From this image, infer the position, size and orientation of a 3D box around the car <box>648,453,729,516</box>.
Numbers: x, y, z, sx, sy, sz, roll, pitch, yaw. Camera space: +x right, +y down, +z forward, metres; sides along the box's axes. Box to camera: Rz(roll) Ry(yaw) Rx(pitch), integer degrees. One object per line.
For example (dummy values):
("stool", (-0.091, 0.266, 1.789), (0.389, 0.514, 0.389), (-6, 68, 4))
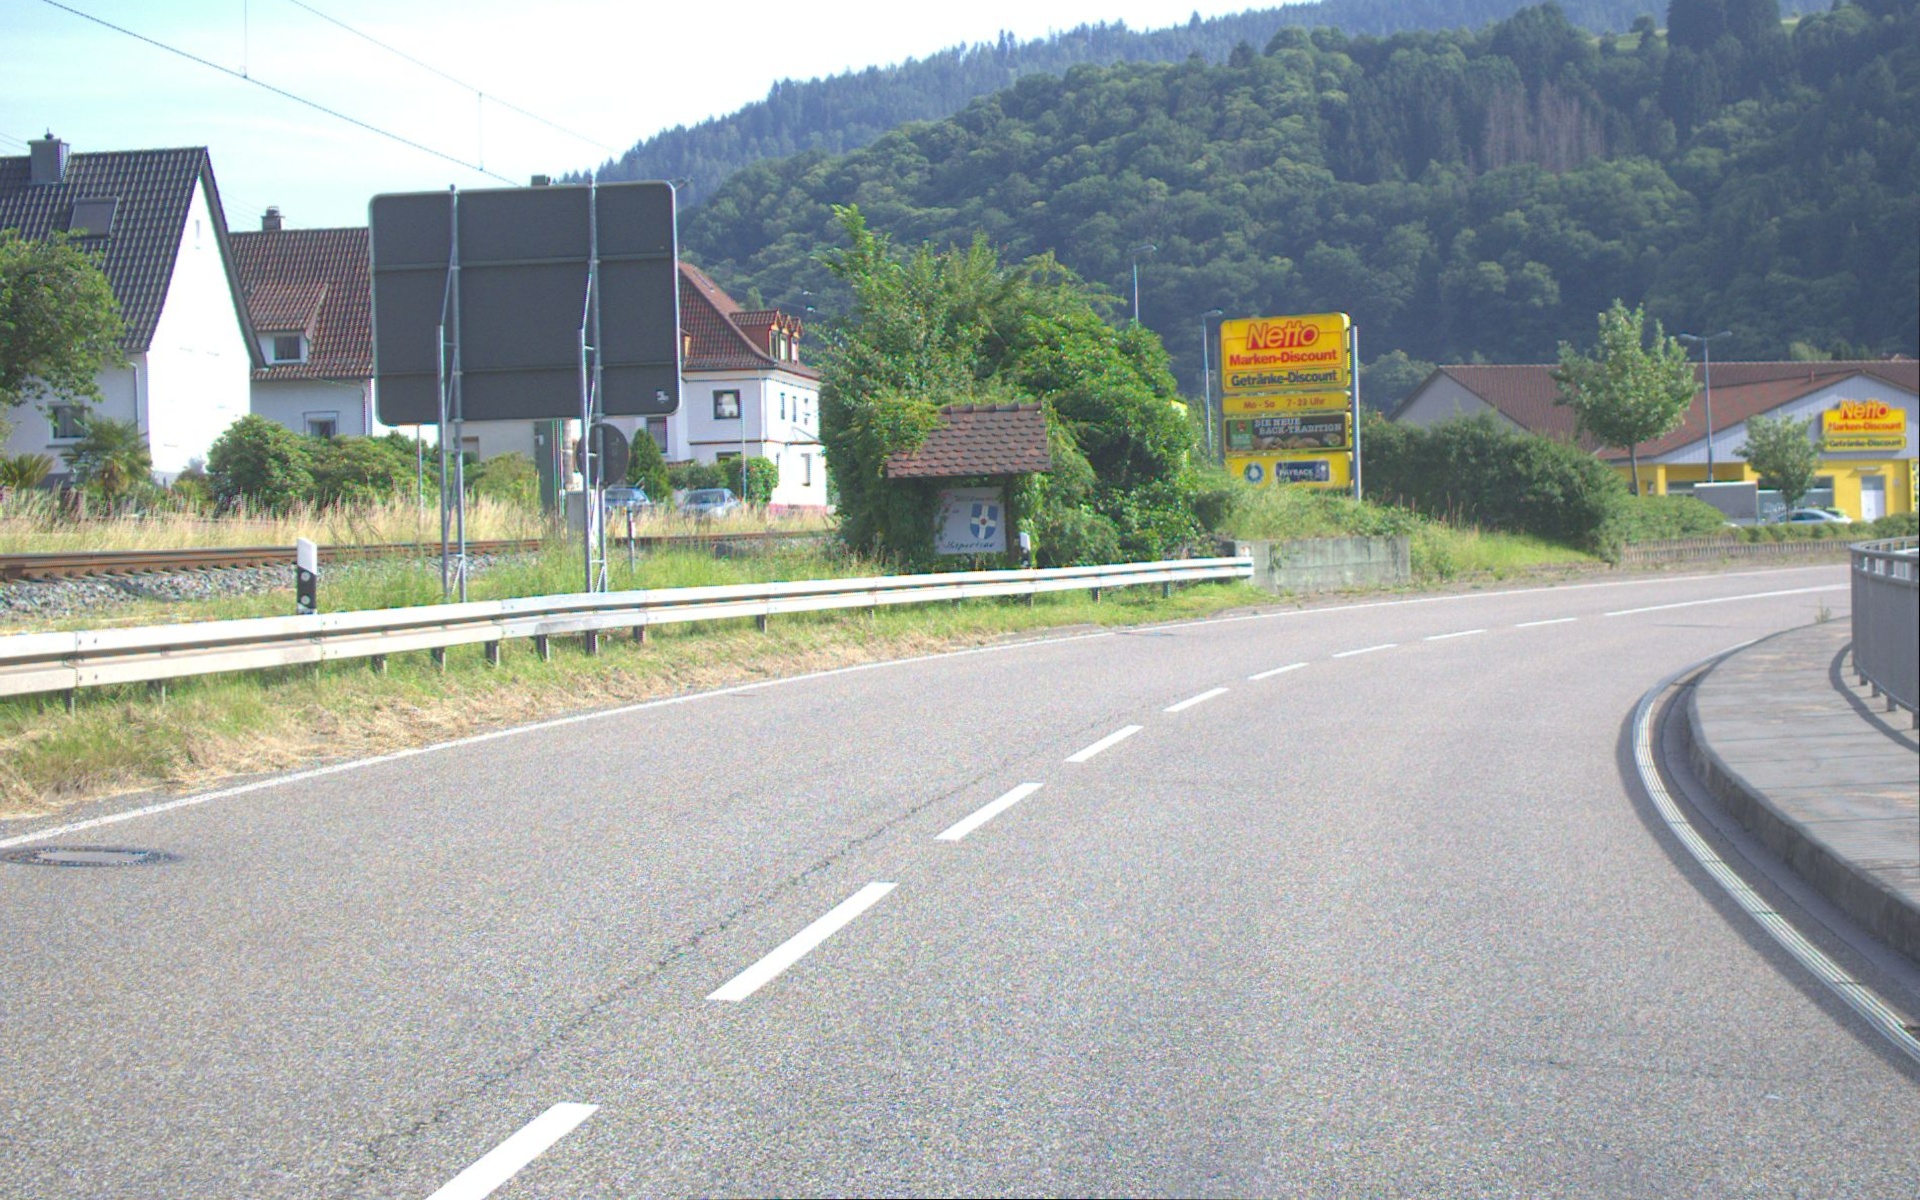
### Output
("car", (-9.263, -3.936, 117.454), (1.994, 1.875, 3.999), (6, 1, 4))

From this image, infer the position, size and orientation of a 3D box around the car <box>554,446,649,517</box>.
("car", (-10.792, -3.556, 103.836), (1.994, 1.875, 3.999), (6, 1, 4))
